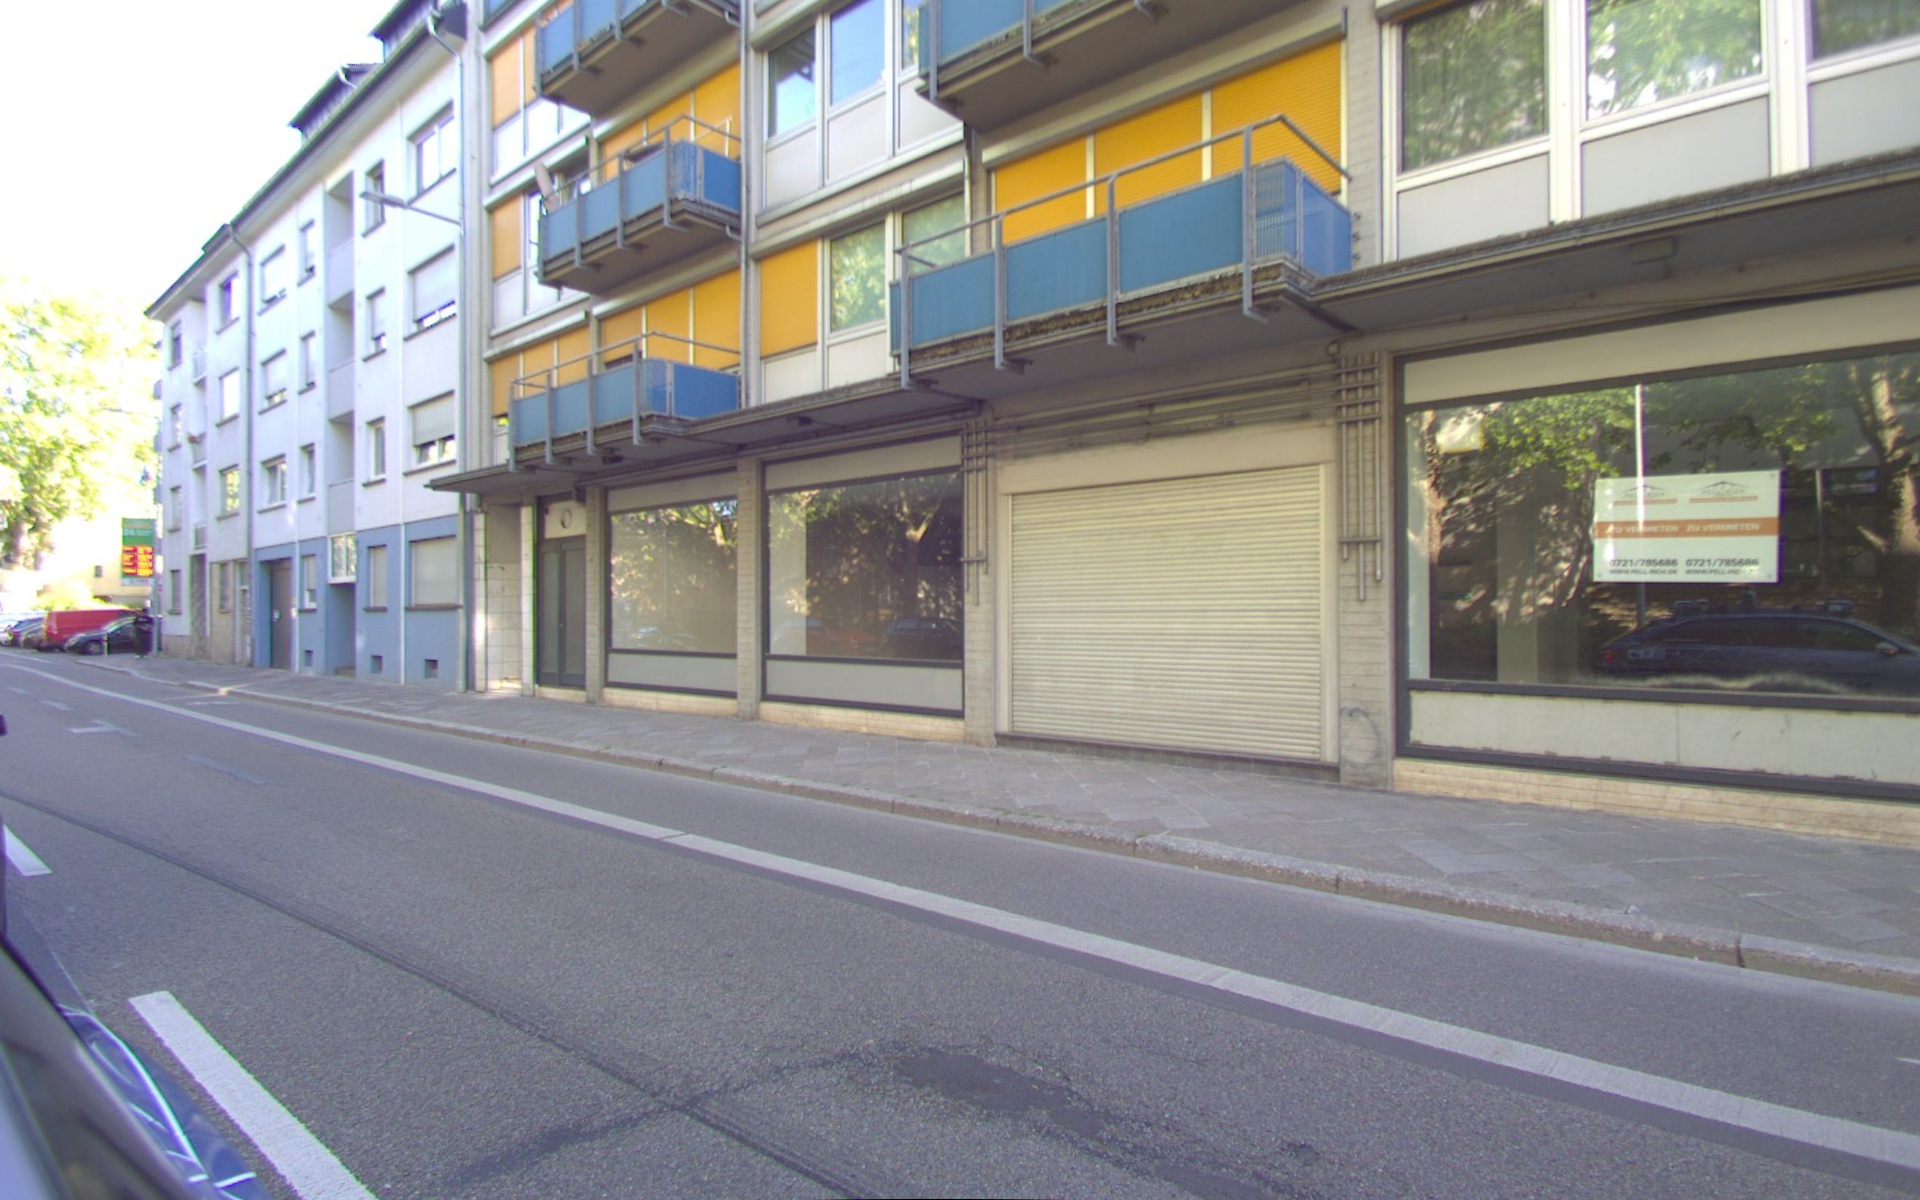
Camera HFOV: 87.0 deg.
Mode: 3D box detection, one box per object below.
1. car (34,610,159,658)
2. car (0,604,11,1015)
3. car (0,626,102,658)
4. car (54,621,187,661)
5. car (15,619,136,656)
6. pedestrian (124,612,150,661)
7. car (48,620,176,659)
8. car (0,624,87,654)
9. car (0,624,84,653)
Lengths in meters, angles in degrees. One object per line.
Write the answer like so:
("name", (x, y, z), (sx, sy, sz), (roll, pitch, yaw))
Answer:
("car", (-40.575, 1.563, 47.618), (1.817, 1.933, 4.202), (-1, 1, 40))
("car", (-5.723, 0.804, 4.470), (4.300, 1.510, 1.826), (-1, -1, 41))
("car", (-50.470, 2.297, 56.104), (1.652, 1.480, 4.201), (-1, 1, 41))
("car", (-36.501, 1.749, 44.093), (1.652, 1.411, 4.201), (-1, 1, 41))
("car", (-42.763, 1.795, 49.014), (1.652, 1.480, 4.201), (-1, 1, 41))
("pedestrian", (-28.726, 1.269, 35.320), (0.655, 1.708, 0.604), (-2, -1, 41))
("car", (-38.194, 1.736, 45.656), (1.652, 1.480, 4.201), (-1, 1, 41))
("car", (-54.503, 2.283, 59.789), (1.652, 1.480, 4.201), (-1, 1, 41))
("car", (-55.885, 2.304, 61.197), (1.652, 1.480, 4.201), (-1, 1, 41))
